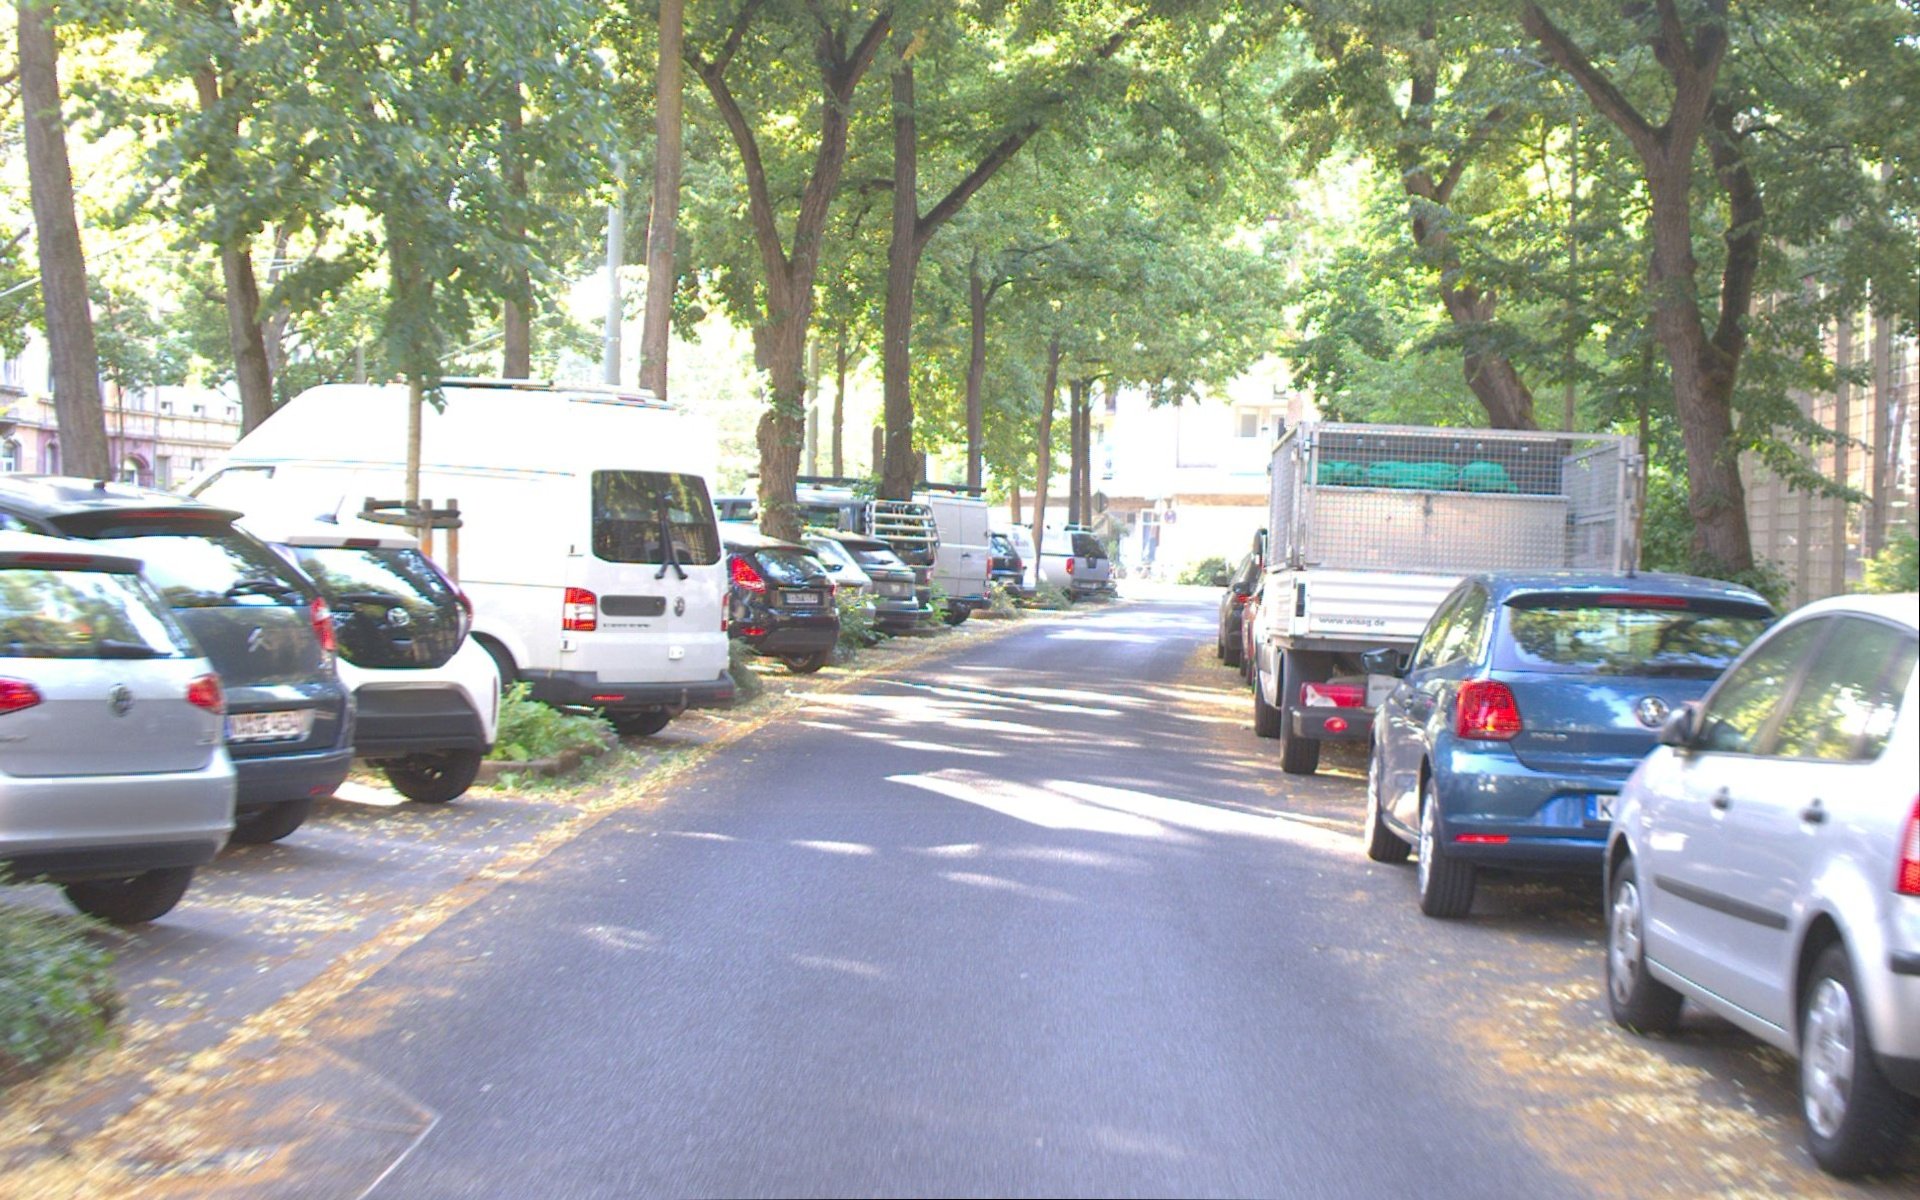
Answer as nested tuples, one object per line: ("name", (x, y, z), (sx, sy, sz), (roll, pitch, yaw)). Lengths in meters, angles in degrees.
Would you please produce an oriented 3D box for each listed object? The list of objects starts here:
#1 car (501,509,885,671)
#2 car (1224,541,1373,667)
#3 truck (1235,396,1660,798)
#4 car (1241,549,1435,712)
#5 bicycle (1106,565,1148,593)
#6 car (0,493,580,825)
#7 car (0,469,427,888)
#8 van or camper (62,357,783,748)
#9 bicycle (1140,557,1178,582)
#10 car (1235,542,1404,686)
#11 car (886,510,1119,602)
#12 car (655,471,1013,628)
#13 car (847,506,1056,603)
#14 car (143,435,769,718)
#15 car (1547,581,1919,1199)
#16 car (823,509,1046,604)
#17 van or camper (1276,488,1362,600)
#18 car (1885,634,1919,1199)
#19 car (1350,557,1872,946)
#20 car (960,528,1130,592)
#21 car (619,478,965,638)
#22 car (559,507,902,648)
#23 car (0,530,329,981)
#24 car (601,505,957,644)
("car", (-2.892, -0.120, 36.887), (3.821, 1.434, 1.821), (5, 2, 39))
("car", (4.122, 0.012, 42.325), (1.672, 1.449, 3.949), (1, 1, 4))
("truck", (3.221, -0.085, 24.267), (2.296, 2.378, 6.934), (1, 1, 3))
("car", (3.524, 0.236, 32.571), (1.672, 1.393, 4.298), (1, 1, 5))
("bicycle", (6.255, -0.799, 128.617), (0.638, 1.019, 2.088), (0, 1, -26))
("car", (-4.046, 0.256, 18.535), (3.546, 1.488, 1.822), (5, 1, 34))
("car", (-4.683, 0.213, 15.716), (4.034, 1.656, 1.854), (5, 1, 27))
("van or camper", (-3.939, -0.388, 24.914), (4.880, 2.462, 2.041), (4, 1, 32))
("bicycle", (7.332, -1.124, 126.737), (0.542, 0.901, 1.736), (0, 1, -29))
("car", (3.894, 0.109, 37.729), (1.672, 1.449, 3.949), (1, 1, 4))
("car", (0.971, -1.022, 79.360), (4.996, 1.775, 1.983), (5, 1, 33))
("car", (-2.070, -0.825, 55.422), (5.508, 2.129, 2.077), (5, 1, 35))
("car", (-0.205, -0.981, 73.453), (4.158, 1.775, 1.879), (5, 2, 42))
("car", (-4.187, -0.221, 28.246), (4.880, 1.971, 2.041), (4, 1, 34))
("car", (2.860, 0.717, 9.779), (1.672, 1.453, 3.894), (1, 1, 0))
("car", (-0.534, -0.893, 70.248), (4.156, 1.638, 1.911), (5, 1, 37))
("van or camper", (9.285, -1.441, 88.770), (2.084, 2.753, 5.844), (1, 1, 6))
("car", (2.797, 0.823, 5.087), (1.672, 1.386, 4.266), (1, 1, 0))
("car", (2.752, 0.565, 15.334), (1.672, 1.453, 3.893), (1, 1, 2))
("car", (2.320, -1.086, 94.057), (4.194, 1.434, 1.828), (5, 1, 31))
("car", (-2.438, -0.620, 49.084), (4.709, 1.936, 1.930), (5, 1, 38))
("car", (-2.942, -0.294, 43.675), (4.089, 1.483, 1.780), (5, 1, 36))
("car", (-4.645, 0.395, 12.842), (4.238, 1.436, 1.853), (5, 1, 30))
("car", (-2.477, -0.356, 46.319), (4.567, 1.535, 1.930), (5, 1, 38))
